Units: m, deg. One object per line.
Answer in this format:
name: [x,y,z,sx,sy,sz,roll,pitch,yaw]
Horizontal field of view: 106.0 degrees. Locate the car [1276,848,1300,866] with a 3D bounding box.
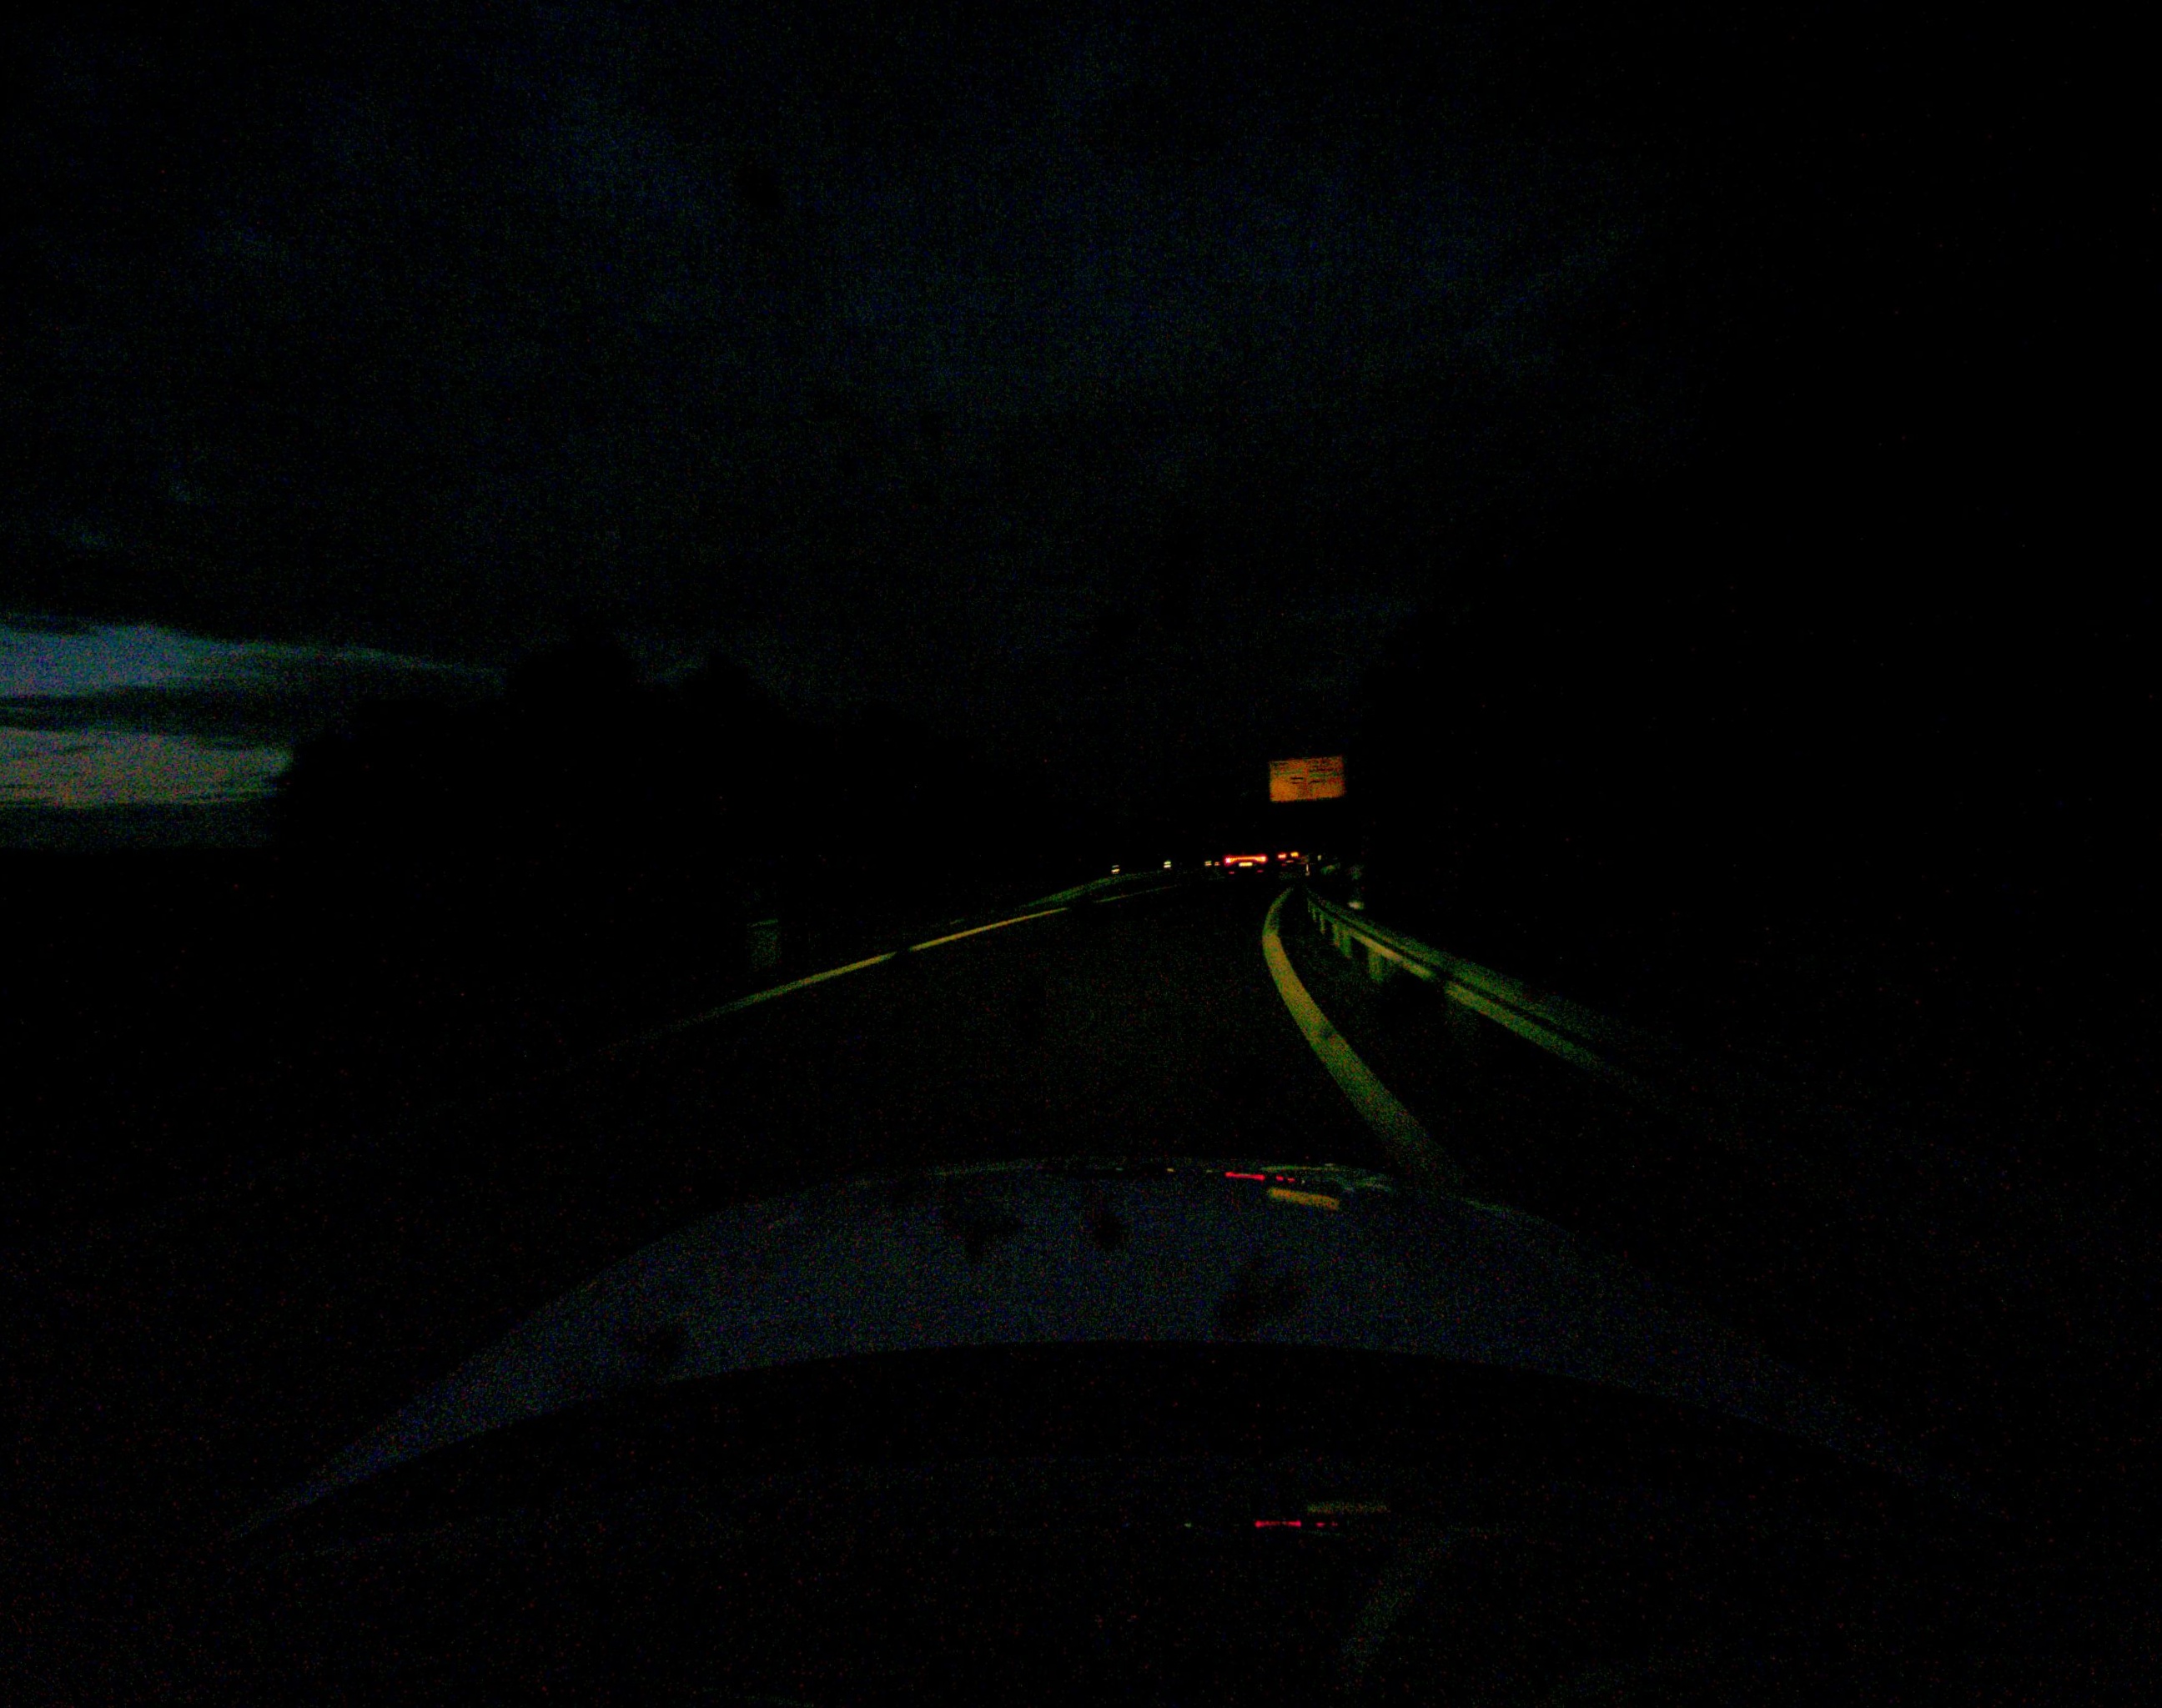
car: [19.841,0.256,77.910,1.978,1.598,4.018,-1,0,17]

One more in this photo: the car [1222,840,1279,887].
car: [7.227,0.355,34.487,1.978,1.659,4.333,-4,1,15]
